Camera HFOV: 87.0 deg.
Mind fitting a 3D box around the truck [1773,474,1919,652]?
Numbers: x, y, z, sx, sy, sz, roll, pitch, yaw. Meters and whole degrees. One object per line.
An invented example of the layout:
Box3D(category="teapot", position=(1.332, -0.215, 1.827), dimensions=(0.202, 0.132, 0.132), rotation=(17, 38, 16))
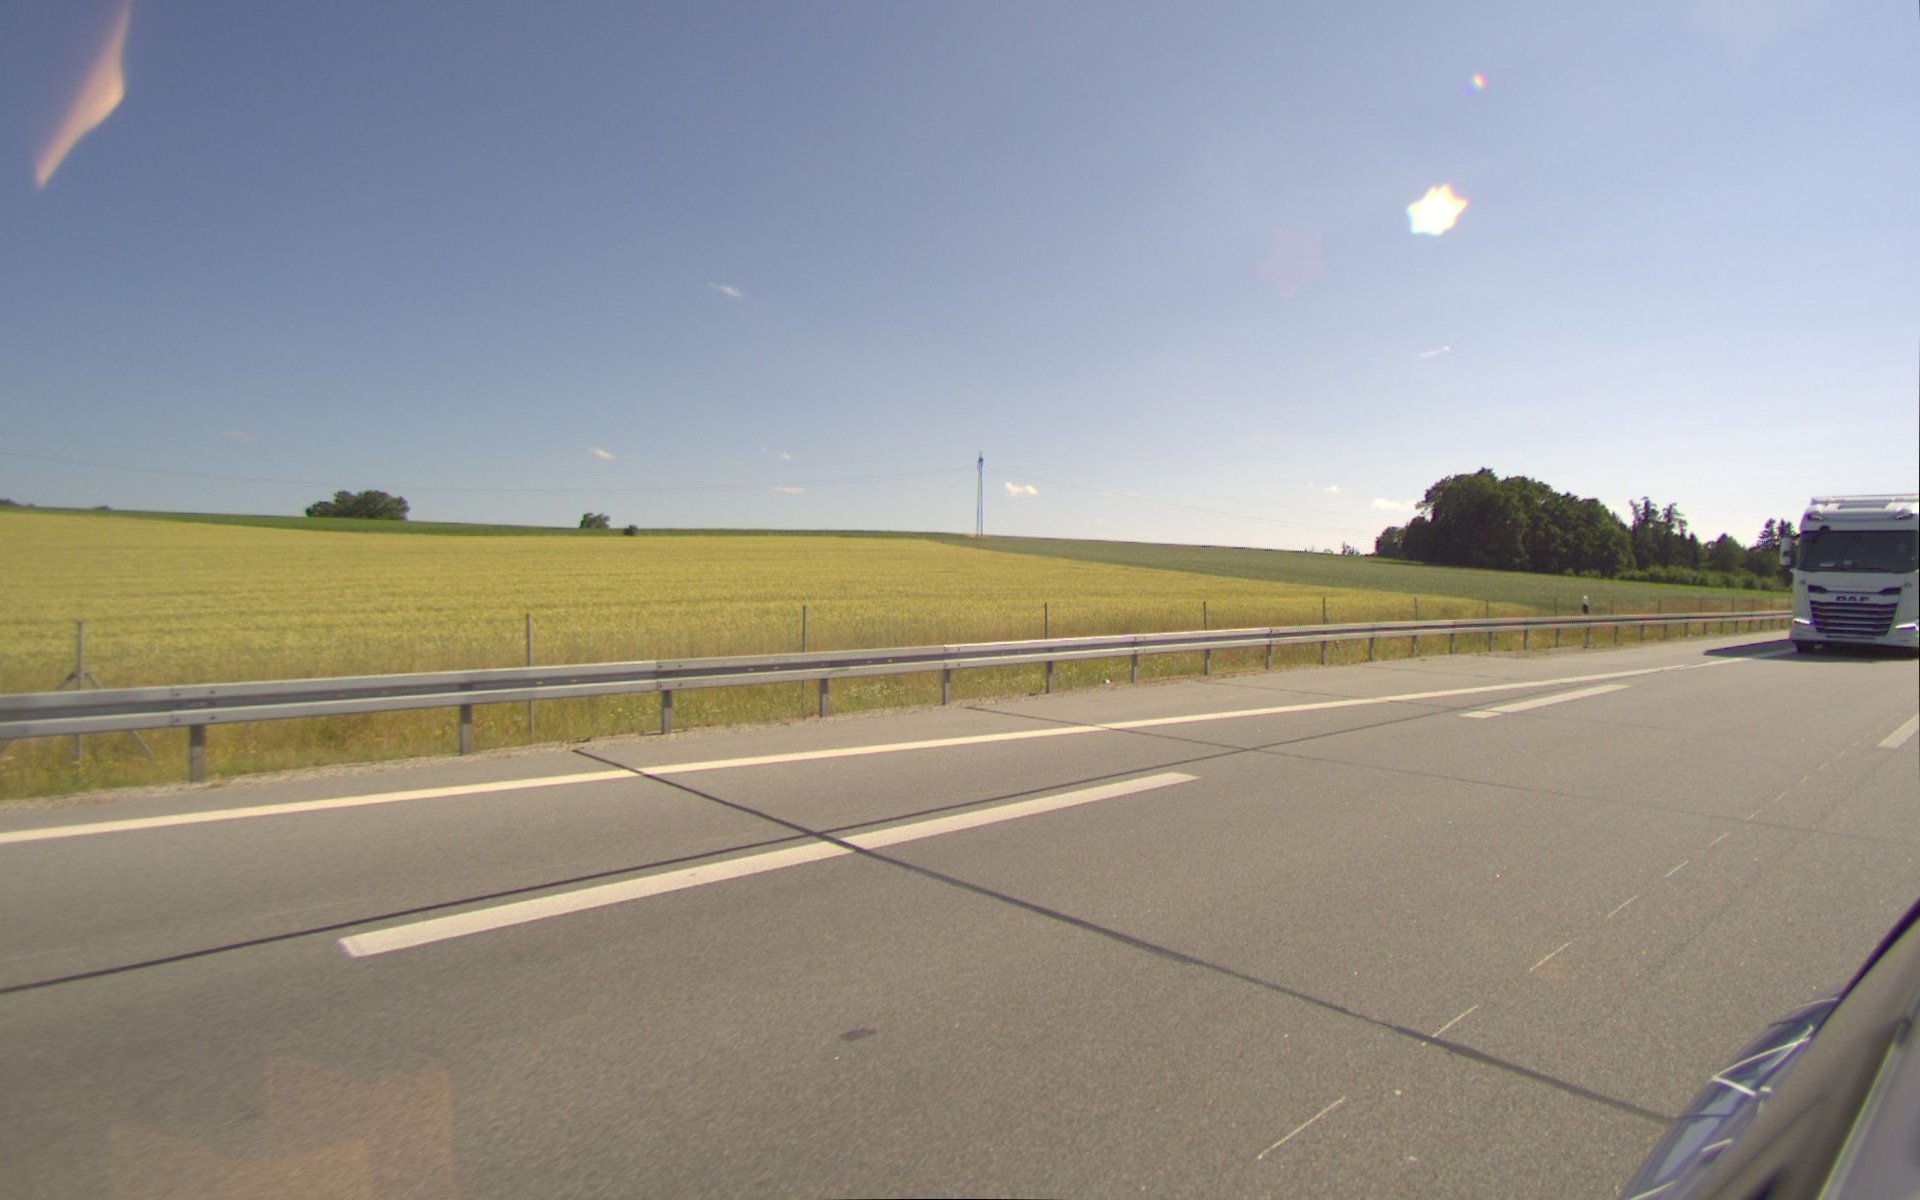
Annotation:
Box3D(category="truck", position=(23.441, -0.885, 25.862), dimensions=(6.081, 4.064, 3.088), rotation=(0, 1, -41))

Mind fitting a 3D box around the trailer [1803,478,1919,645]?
Box3D(category="trailer", position=(30.232, -1.085, 31.936), dimensions=(15.191, 4.347, 3.183), rotation=(0, 3, -41))
